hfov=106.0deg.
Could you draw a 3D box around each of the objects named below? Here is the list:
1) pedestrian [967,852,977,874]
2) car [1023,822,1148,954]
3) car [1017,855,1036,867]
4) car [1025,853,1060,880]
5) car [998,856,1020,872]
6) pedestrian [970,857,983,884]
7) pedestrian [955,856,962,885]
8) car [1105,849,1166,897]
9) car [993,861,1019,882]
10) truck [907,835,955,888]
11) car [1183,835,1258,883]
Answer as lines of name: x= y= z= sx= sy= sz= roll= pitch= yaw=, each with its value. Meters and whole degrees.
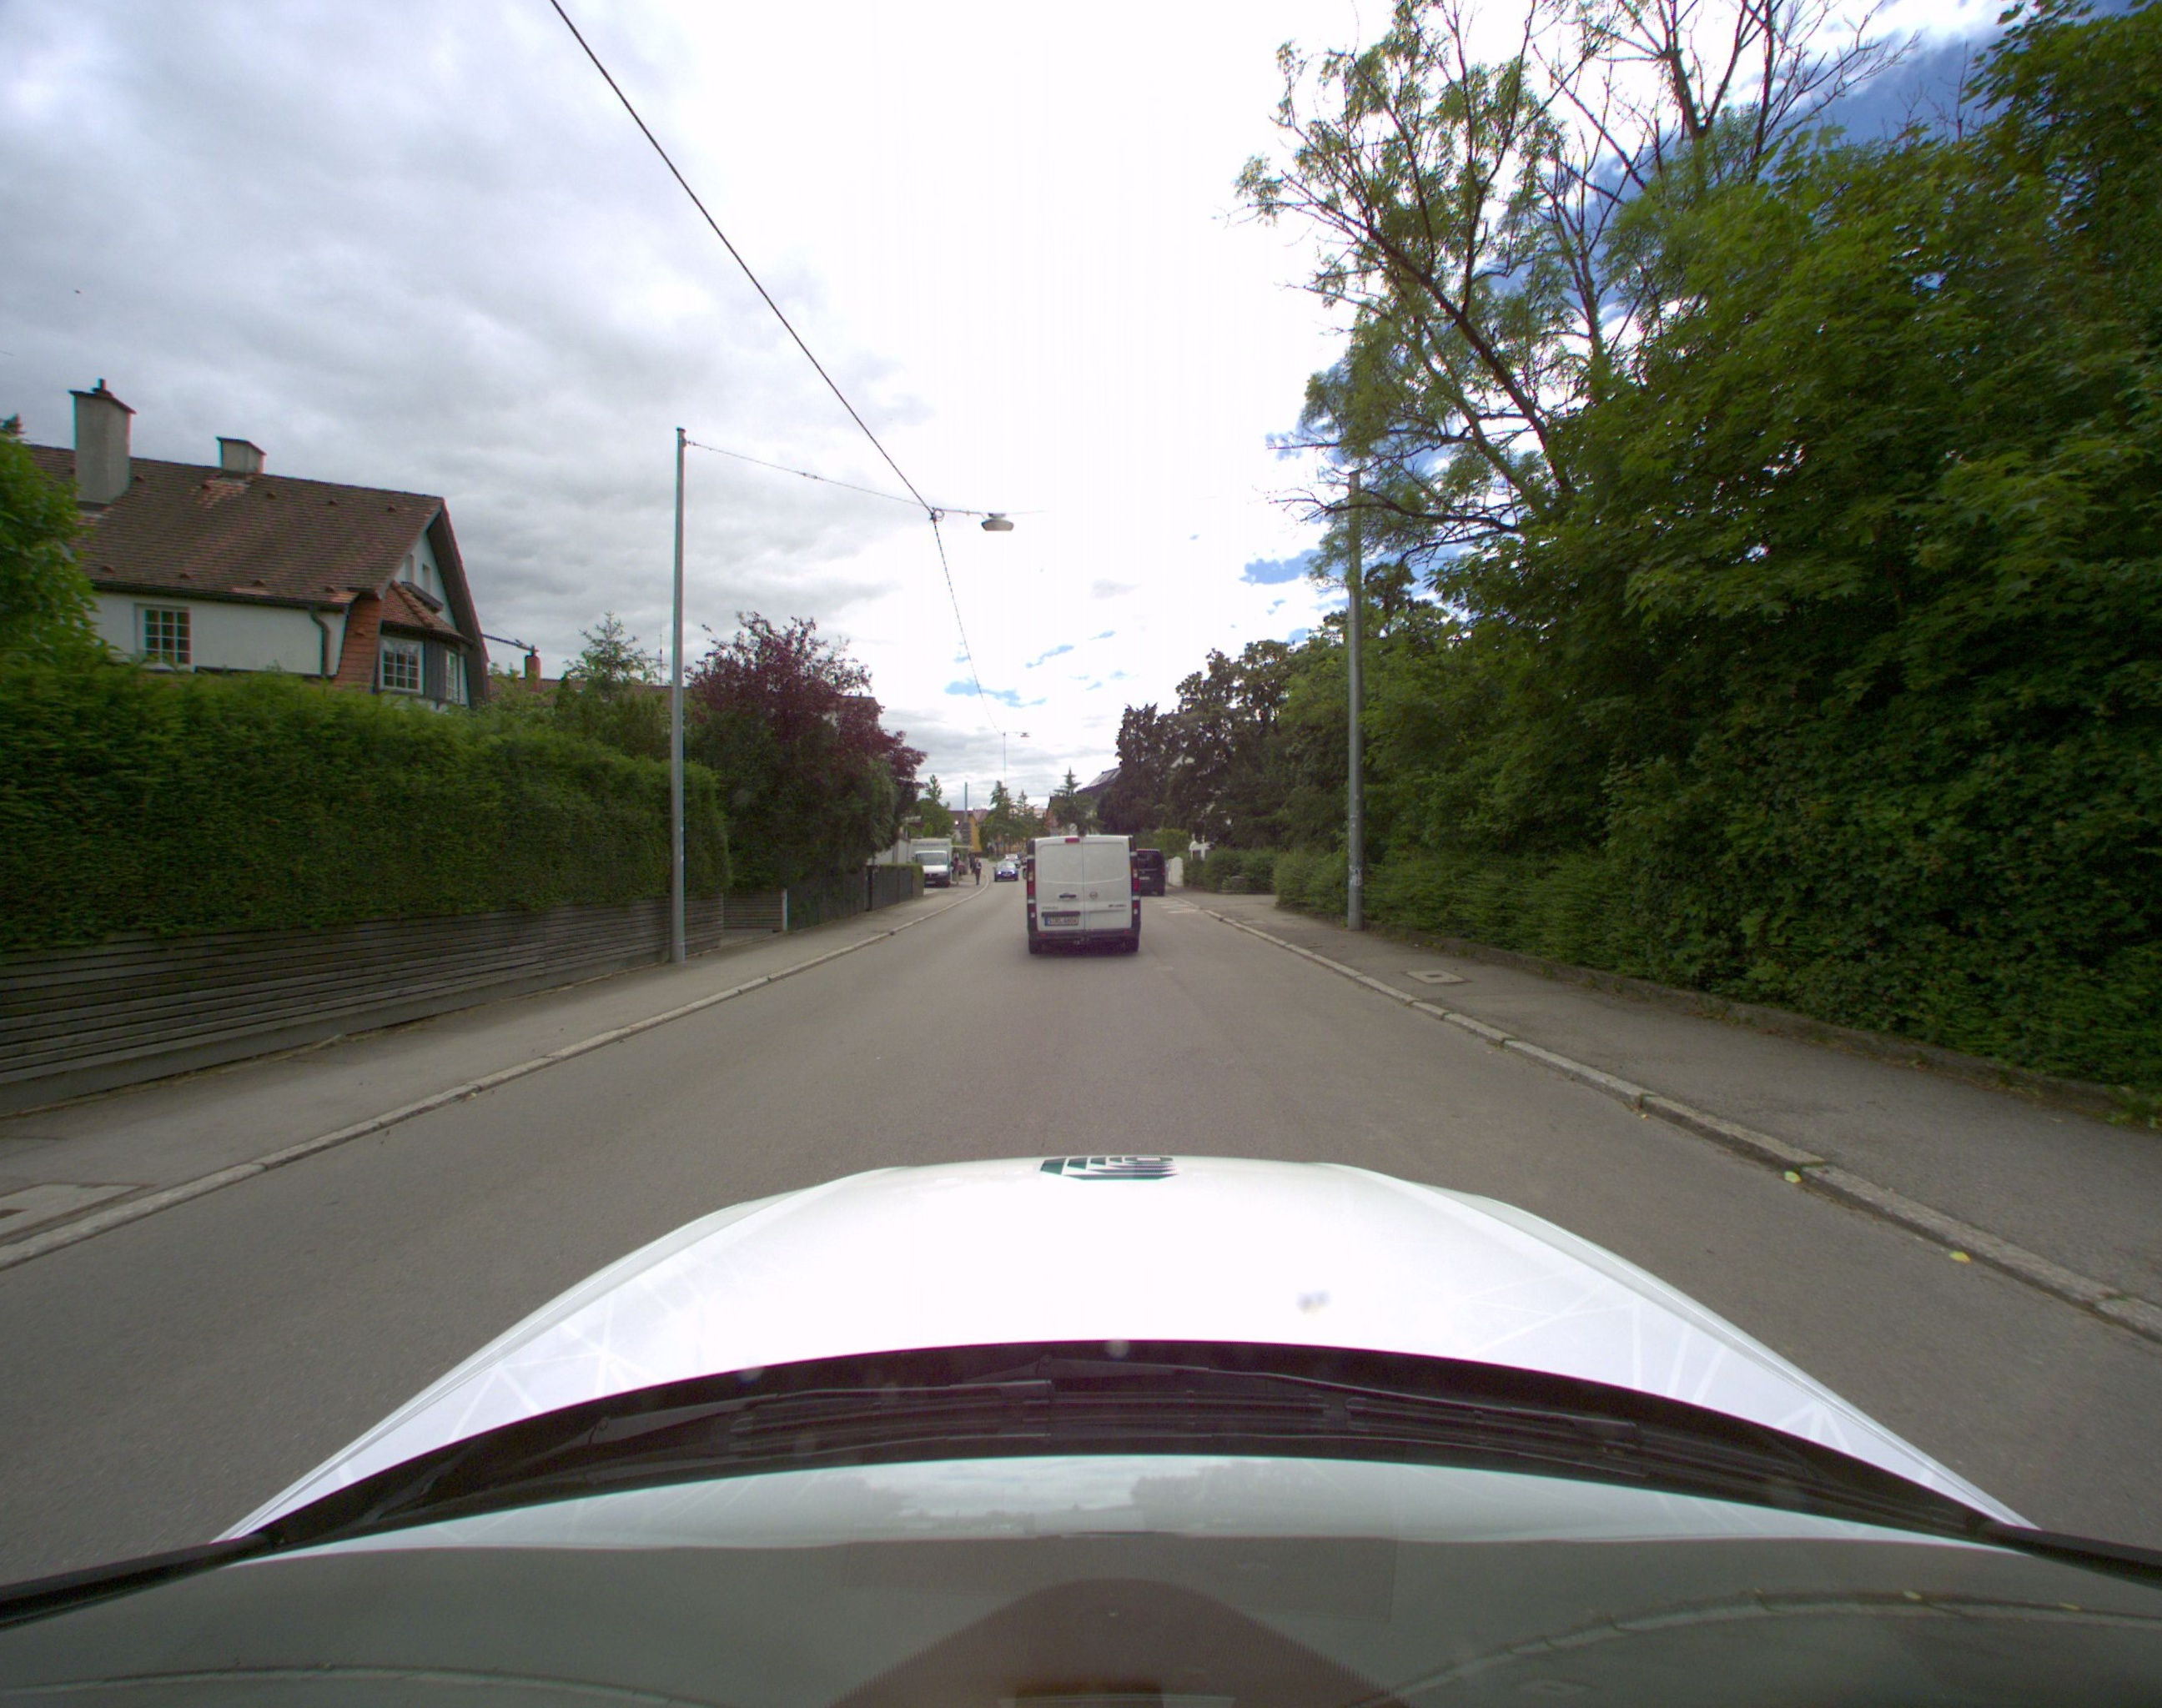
pedestrian: x=-9.902 y=0.819 z=73.785 sx=0.731 sy=1.946 sz=1.216 roll=2 pitch=-1 yaw=-3
car: x=-0.064 y=0.548 z=14.895 sx=1.912 sy=2.003 sz=4.431 roll=-1 pitch=-1 yaw=-4
car: x=-7.069 y=0.864 z=105.763 sx=1.744 sy=1.494 sz=3.637 roll=2 pitch=-1 yaw=-15
car: x=-2.874 y=0.922 z=59.944 sx=1.995 sy=1.848 sz=3.984 roll=-1 pitch=0 yaw=-12
car: x=-8.413 y=1.120 z=94.651 sx=1.995 sy=1.782 sz=3.984 roll=-2 pitch=0 yaw=-12
pedestrian: x=-6.572 y=1.036 z=51.358 sx=0.721 sy=1.687 sz=1.108 roll=2 pitch=-1 yaw=-3
pedestrian: x=-7.214 y=0.990 z=47.951 sx=0.401 sy=1.695 sz=0.595 roll=2 pitch=-1 yaw=-9
car: x=2.176 y=0.747 z=34.041 sx=1.905 sy=1.848 sz=5.151 roll=0 pitch=-1 yaw=-4
car: x=-5.552 y=1.286 z=60.412 sx=1.690 sy=1.432 sz=3.923 roll=2 pitch=-1 yaw=-3
truck: x=-8.642 y=0.444 z=47.397 sx=2.472 sy=2.840 sz=6.687 roll=0 pitch=-1 yaw=-9
car: x=8.392 y=0.321 z=49.599 sx=2.502 sy=2.682 sz=5.159 roll=2 pitch=-1 yaw=-15
